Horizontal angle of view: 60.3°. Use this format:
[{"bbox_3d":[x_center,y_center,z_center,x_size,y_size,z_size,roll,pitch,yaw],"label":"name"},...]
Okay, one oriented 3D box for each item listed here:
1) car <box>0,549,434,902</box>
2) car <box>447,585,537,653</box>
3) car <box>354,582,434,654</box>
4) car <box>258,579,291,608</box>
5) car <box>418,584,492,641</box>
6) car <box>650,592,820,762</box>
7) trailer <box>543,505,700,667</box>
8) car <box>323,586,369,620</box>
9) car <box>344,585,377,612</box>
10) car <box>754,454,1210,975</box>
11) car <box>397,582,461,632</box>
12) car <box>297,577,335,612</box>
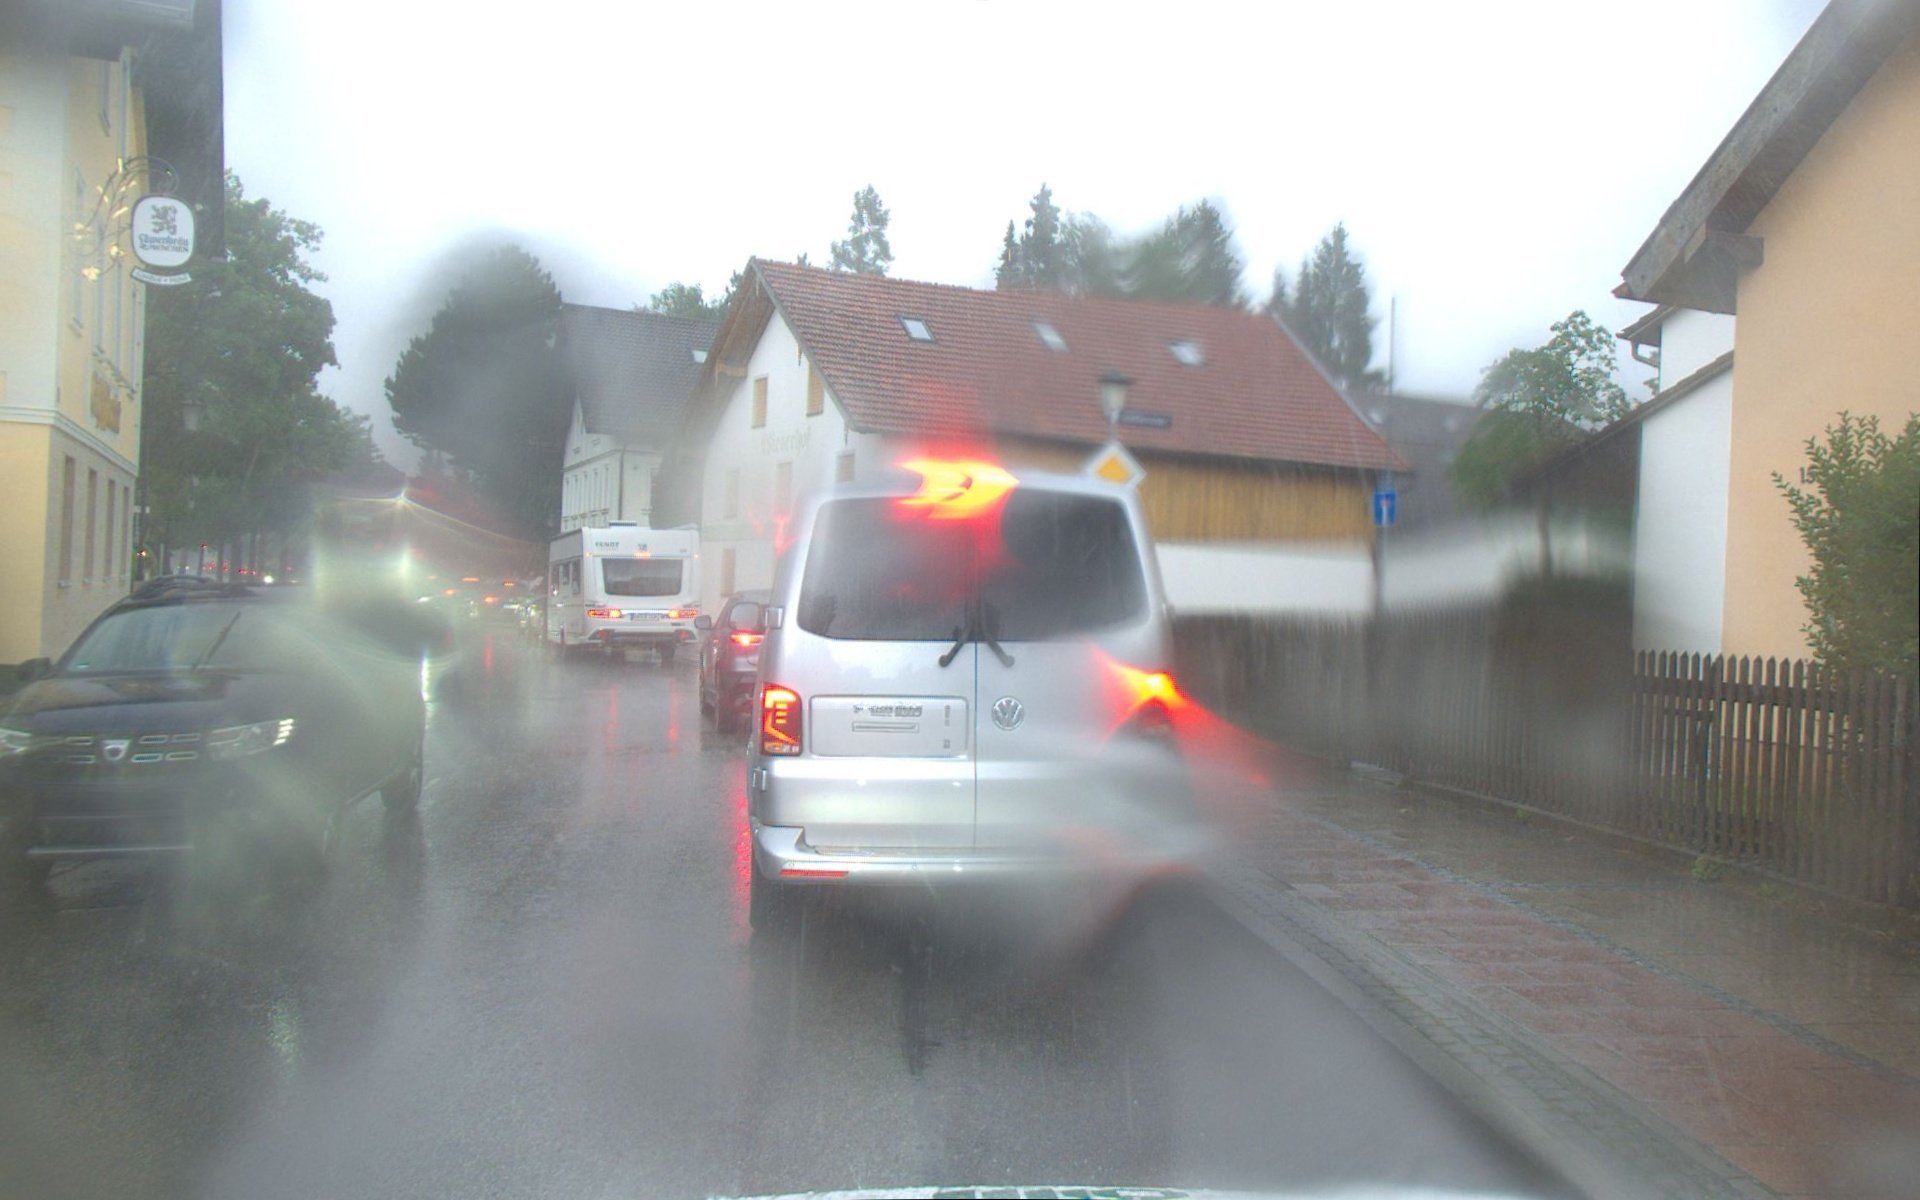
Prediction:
[{"bbox_3d":[-4.138,0.587,9.521,1.557,1.638,3.531,0,0,-9],"label":"car"},{"bbox_3d":[-15.132,0.561,53.272,2.140,1.932,4.979,2,0,-23],"label":"car"},{"bbox_3d":[-16.626,0.504,48.484,1.826,2.006,4.666,0,0,-24],"label":"car"},{"bbox_3d":[-44.609,-0.409,107.646,1.836,1.788,4.454,-2,1,-21],"label":"car"},{"bbox_3d":[-19.168,0.441,62.649,2.140,1.932,4.979,2,0,-23],"label":"car"},{"bbox_3d":[-2.574,0.762,18.970,1.676,1.611,4.677,-1,1,-8],"label":"car"},{"bbox_3d":[-6.962,-0.254,33.487,2.237,2.955,6.096,1,0,-20],"label":"trailer"},{"bbox_3d":[-26.838,0.115,72.188,1.836,1.382,4.455,0,1,-21],"label":"car"},{"bbox_3d":[-46.815,-0.118,129.154,2.140,1.932,4.979,2,0,-23],"label":"car"},{"bbox_3d":[0.092,0.442,8.906,1.740,1.997,5.074,0,0,0],"label":"car"},{"bbox_3d":[-22.659,0.276,70.473,2.140,1.932,4.979,2,0,-23],"label":"car"},{"bbox_3d":[-35.318,-0.319,90.688,1.836,1.788,4.454,-2,1,-21],"label":"car"}]
